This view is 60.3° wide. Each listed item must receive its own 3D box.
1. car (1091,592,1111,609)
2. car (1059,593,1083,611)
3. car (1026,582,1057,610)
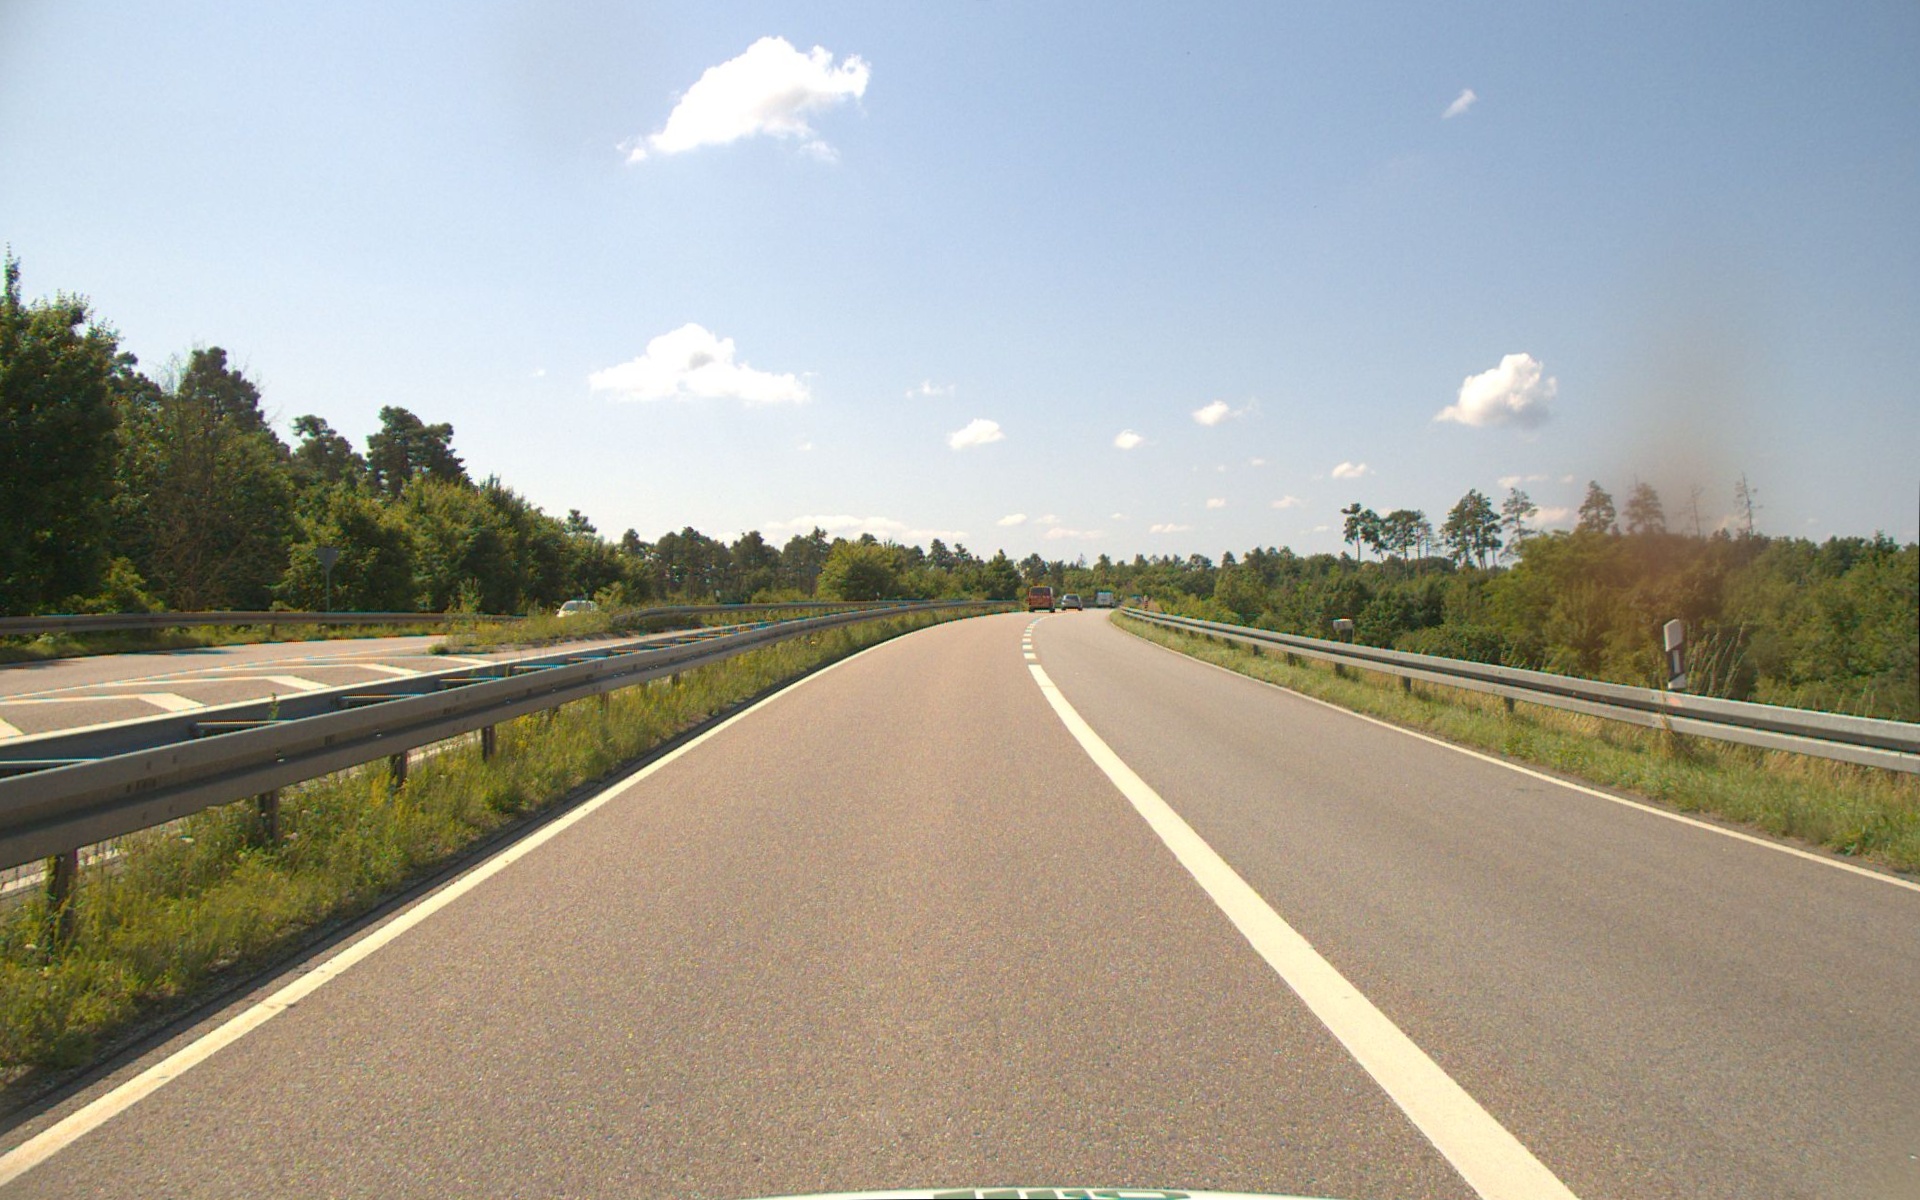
[{"bbox_3d":[17.164,0.073,201.427,2.138,1.989,5.808,1,-1,8],"label":"car"},{"bbox_3d":[10.087,0.176,149.811,1.964,1.520,4.241,1,-1,7],"label":"car"},{"bbox_3d":[6.306,-0.281,127.758,2.033,2.028,5.115,1,-1,7],"label":"car"}]
